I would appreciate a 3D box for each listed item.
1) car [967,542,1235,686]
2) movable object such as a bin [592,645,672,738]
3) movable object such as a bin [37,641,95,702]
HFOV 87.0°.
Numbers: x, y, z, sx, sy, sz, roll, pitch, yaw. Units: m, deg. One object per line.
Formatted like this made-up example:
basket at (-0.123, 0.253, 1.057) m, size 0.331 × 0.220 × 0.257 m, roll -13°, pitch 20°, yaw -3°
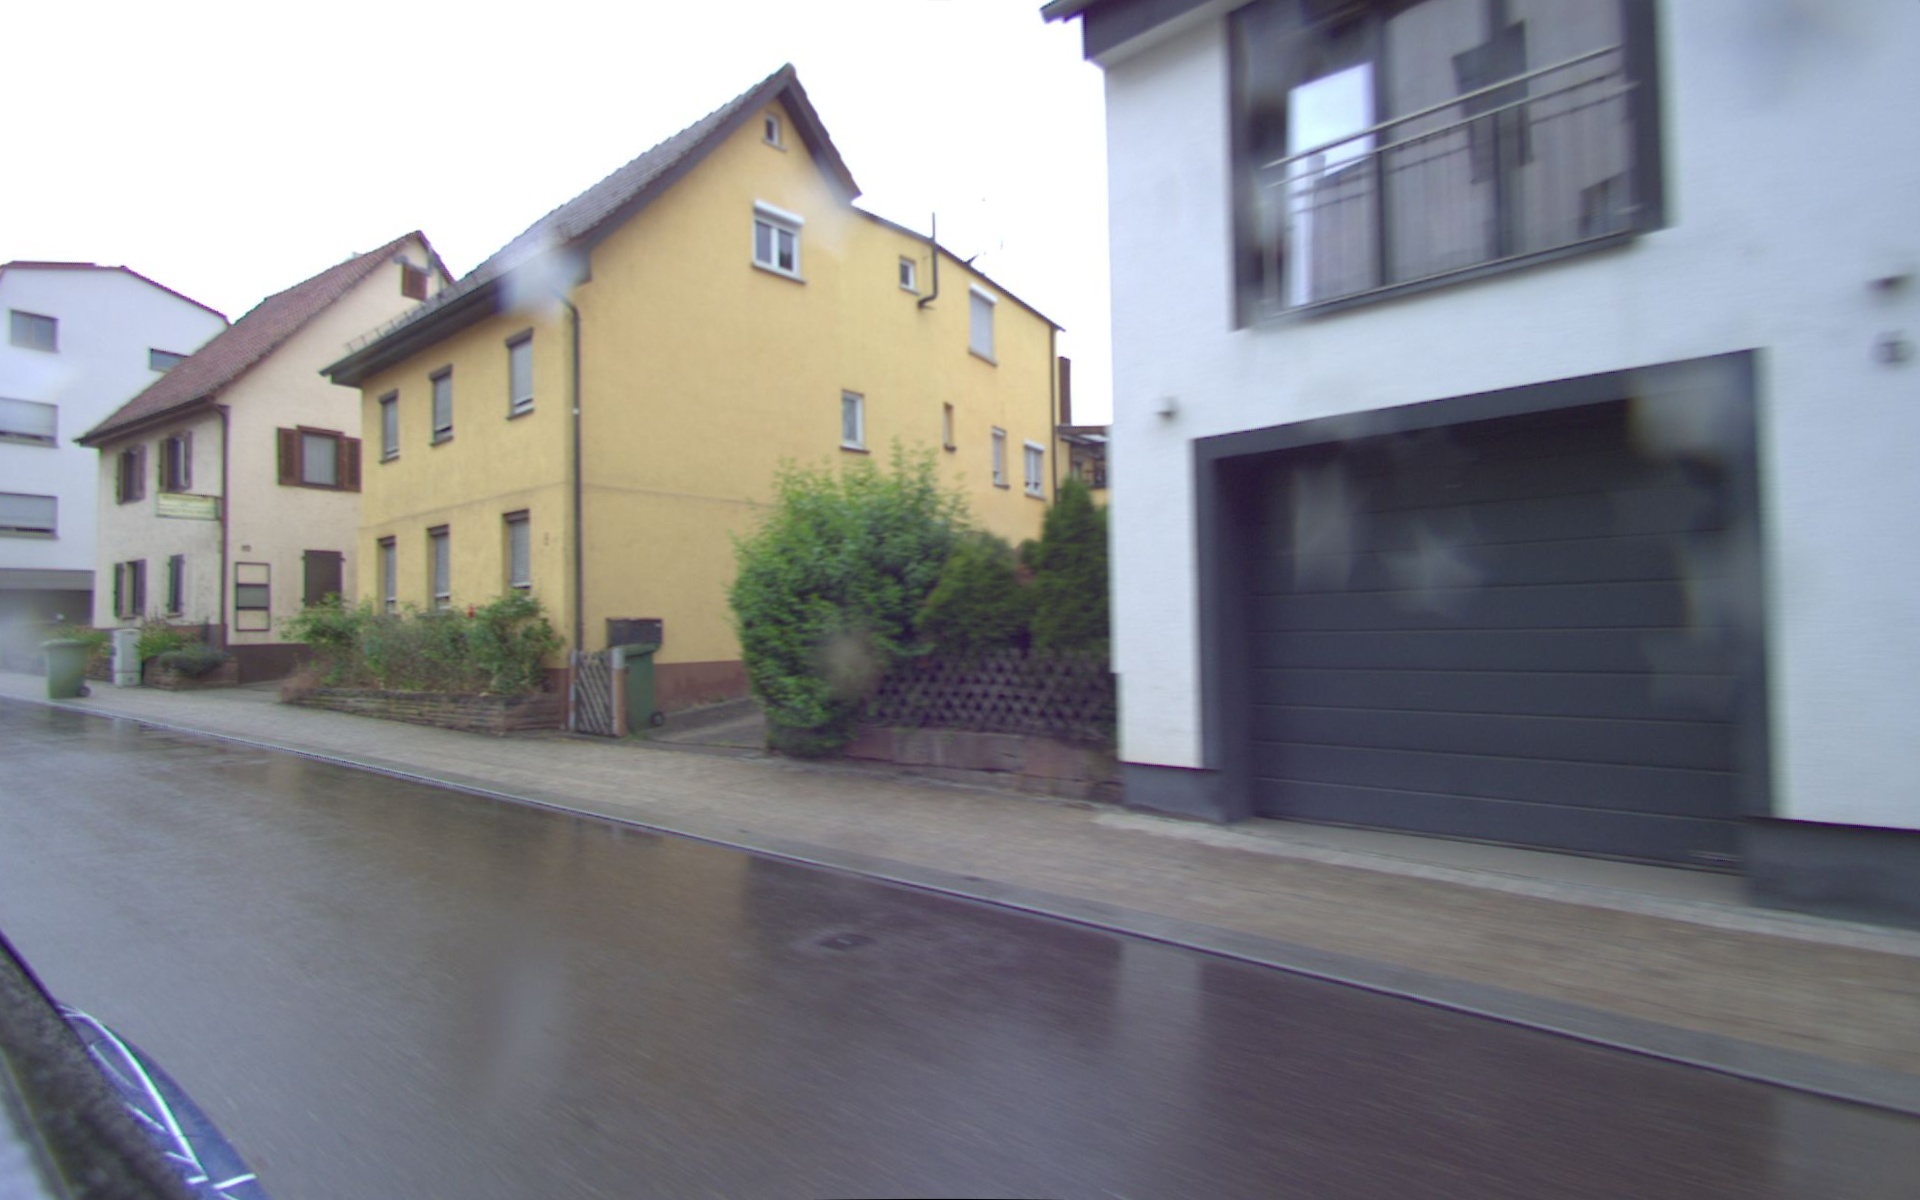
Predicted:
car at (2.811, 0.215, 18.664) m, size 2.323 × 2.221 × 5.845 m, roll 0°, pitch 0°, yaw 38°
movable object such as a bin at (-4.164, 1.148, 12.841) m, size 0.721 × 1.117 × 0.650 m, roll -1°, pitch -4°, yaw 44°
movable object such as a bin at (-16.647, 1.323, 18.848) m, size 0.575 × 1.067 × 0.706 m, roll 0°, pitch 0°, yaw 37°
